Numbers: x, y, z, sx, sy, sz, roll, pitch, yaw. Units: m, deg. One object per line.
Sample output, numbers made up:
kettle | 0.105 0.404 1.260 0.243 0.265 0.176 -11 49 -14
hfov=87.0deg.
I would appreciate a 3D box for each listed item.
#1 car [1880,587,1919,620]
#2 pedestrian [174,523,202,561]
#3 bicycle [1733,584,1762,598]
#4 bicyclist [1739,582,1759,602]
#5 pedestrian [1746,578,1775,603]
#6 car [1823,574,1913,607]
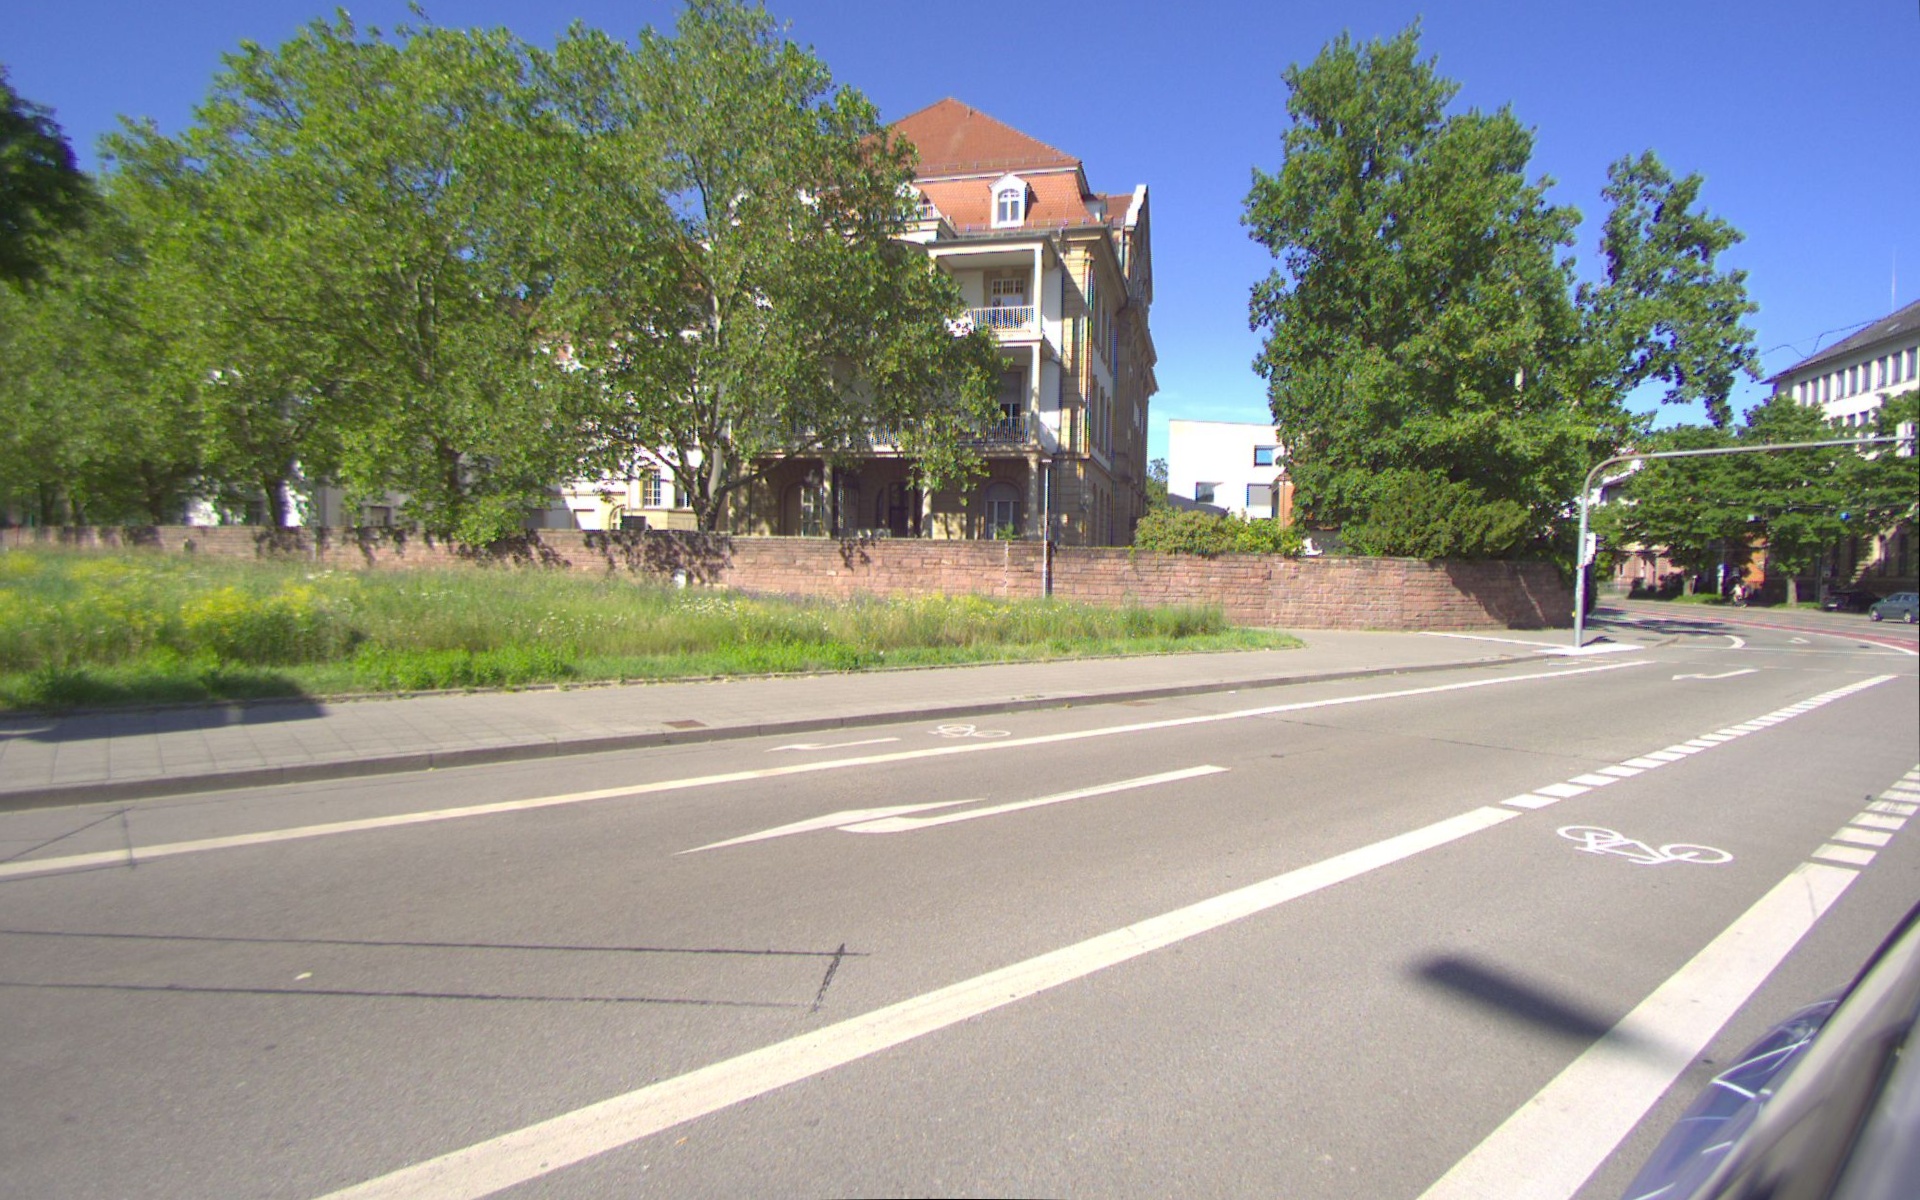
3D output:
car | 49.034 0.241 51.178 1.835 1.561 4.223 3 3 15
pedestrian | -30.479 -2.300 39.983 0.516 1.461 0.721 0 0 20
bicycle | 57.388 -0.668 73.757 0.720 1.003 1.834 1 2 3
bicyclist | 57.389 -0.557 73.650 0.720 1.402 0.895 1 1 3
pedestrian | 60.838 -0.694 76.898 1.366 1.844 0.937 1 1 4
car | 61.202 -0.646 68.244 4.615 2.038 2.004 1 2 -9
